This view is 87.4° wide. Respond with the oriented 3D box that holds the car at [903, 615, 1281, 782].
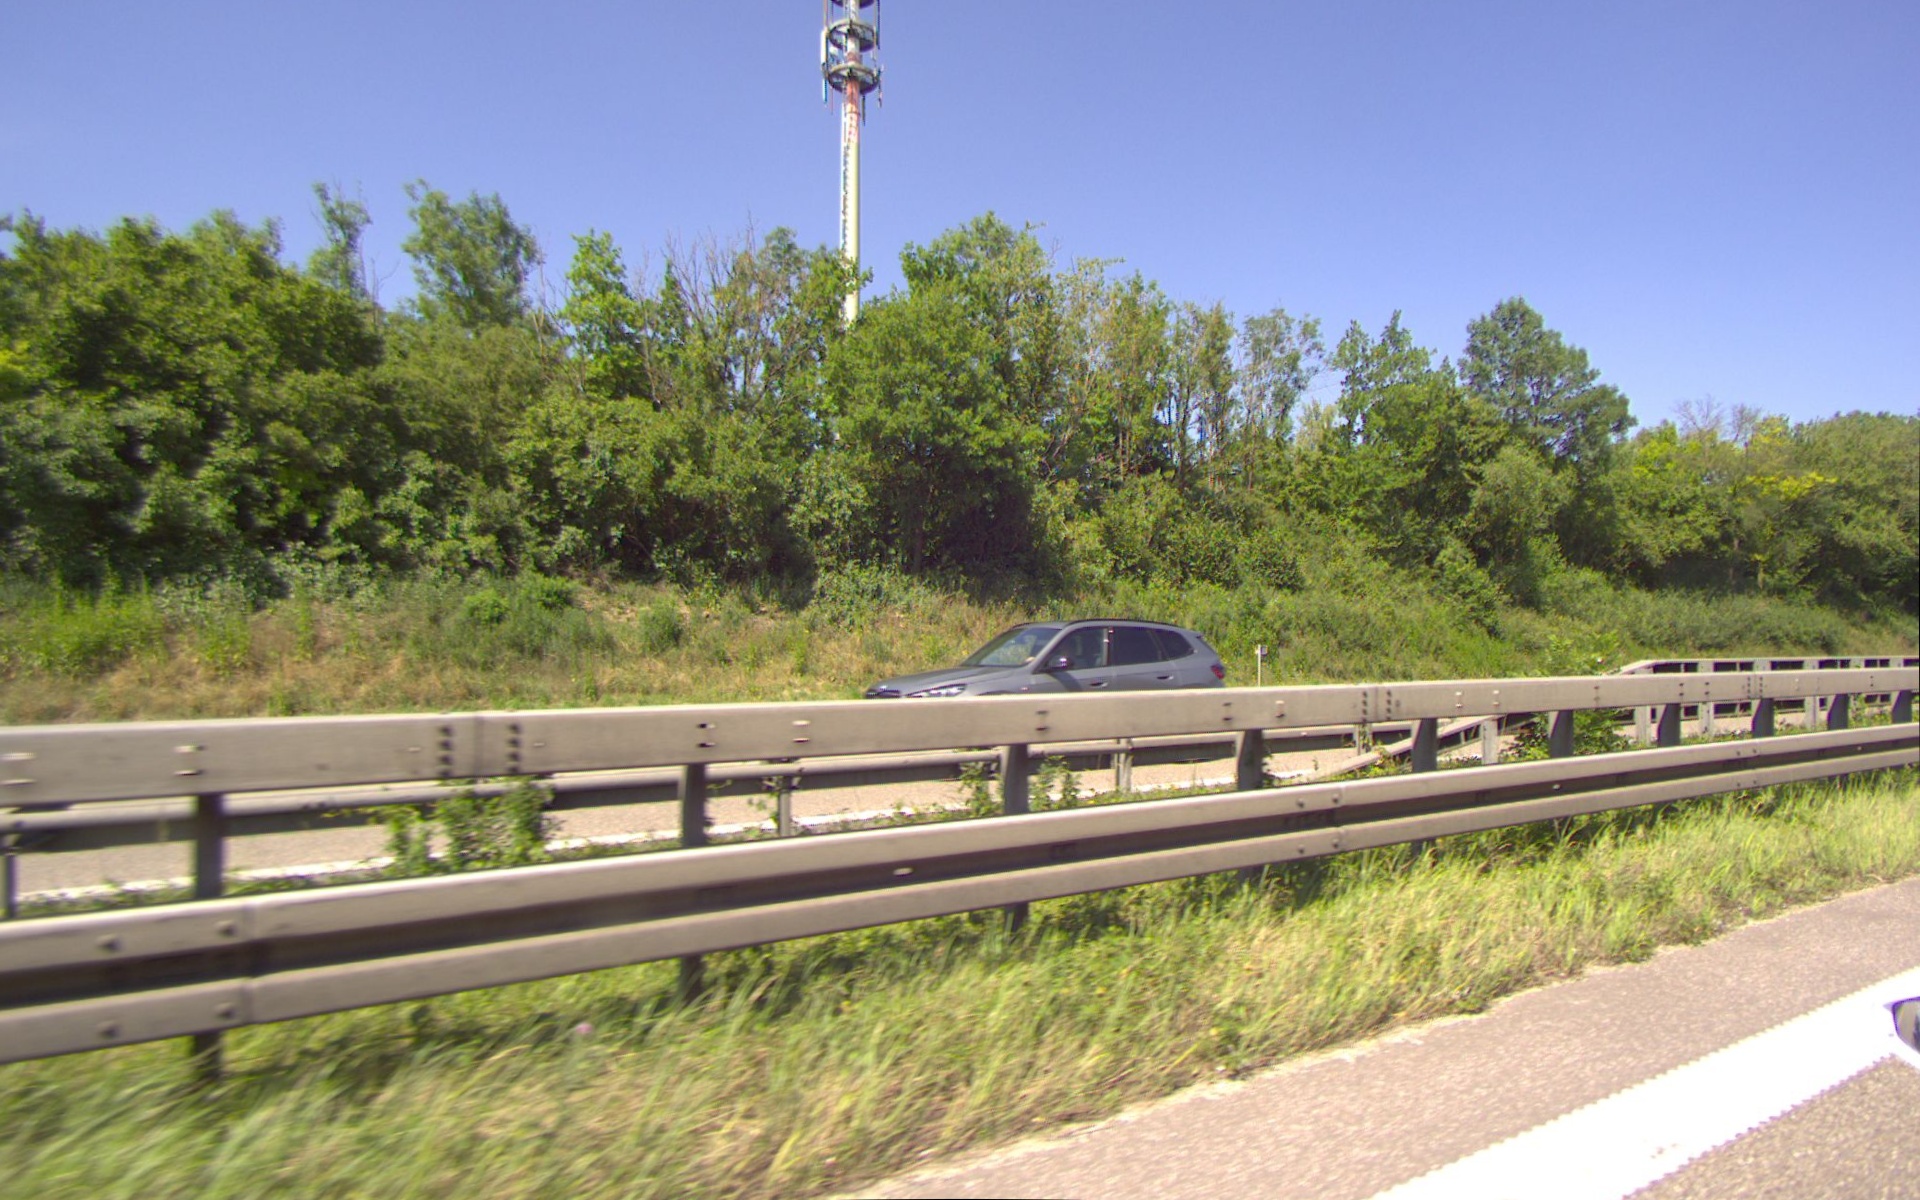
[{"bbox_3d":[1.596,1.032,11.669,4.181,1.639,1.754,1,-2,-30],"label":"car"}]
